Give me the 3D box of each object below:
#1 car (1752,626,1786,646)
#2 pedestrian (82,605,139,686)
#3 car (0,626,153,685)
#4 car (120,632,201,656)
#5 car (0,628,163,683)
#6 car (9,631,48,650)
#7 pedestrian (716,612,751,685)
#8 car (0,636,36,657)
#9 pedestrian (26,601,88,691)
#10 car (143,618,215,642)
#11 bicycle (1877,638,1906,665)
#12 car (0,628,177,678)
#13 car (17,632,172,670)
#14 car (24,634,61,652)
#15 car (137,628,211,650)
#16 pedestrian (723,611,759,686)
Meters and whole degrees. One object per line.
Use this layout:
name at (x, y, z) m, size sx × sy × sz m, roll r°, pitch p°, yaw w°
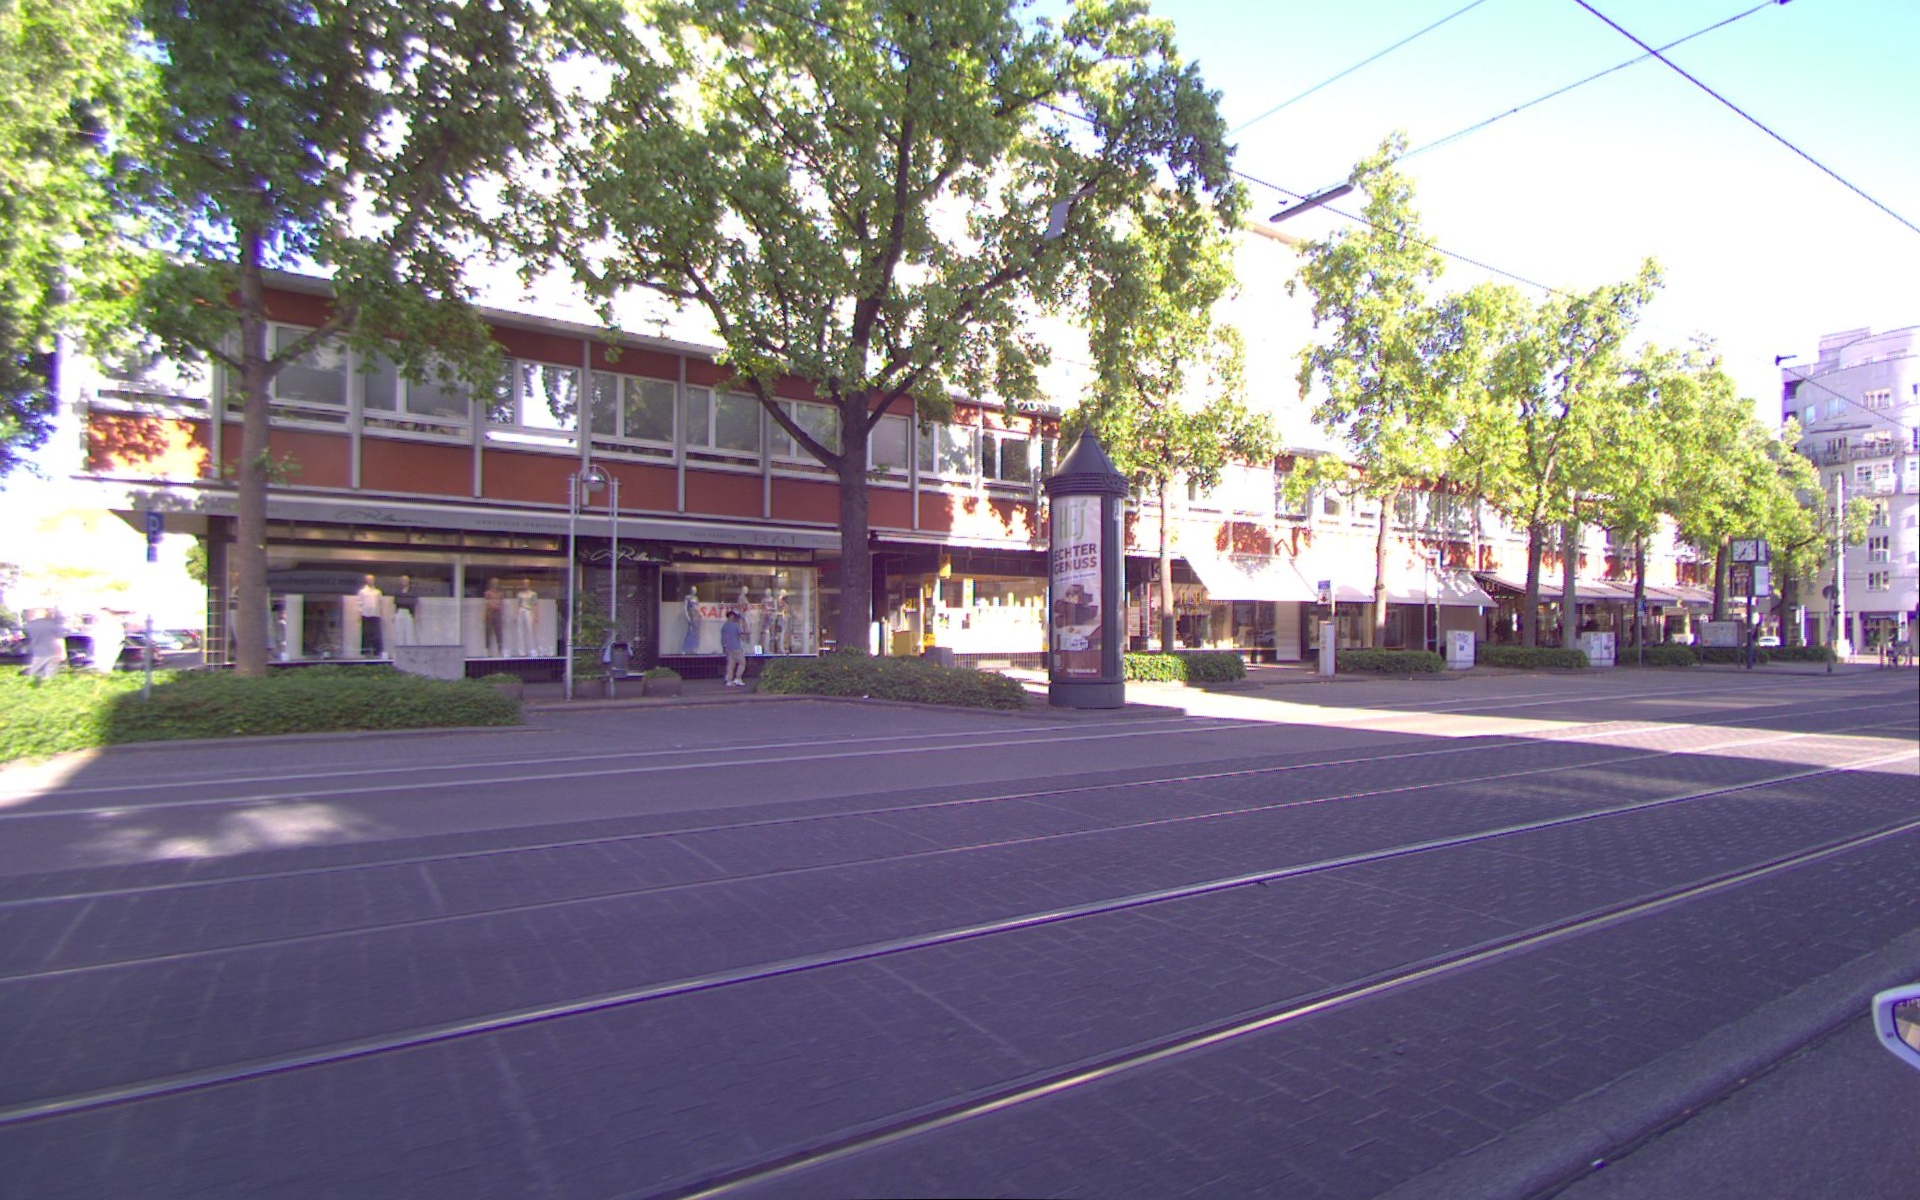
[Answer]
car at (66.262, 2.940, 82.259) m, size 1.779 × 1.422 × 4.077 m, roll -1°, pitch 0°, yaw 44°
pedestrian at (-17.087, 0.907, 20.214) m, size 0.708 × 1.613 × 0.447 m, roll 0°, pitch -2°, yaw -7°
car at (-26.620, 1.591, 29.175) m, size 4.671 × 1.550 × 1.983 m, roll 1°, pitch 1°, yaw -31°
car at (-54.165, 2.971, 68.150) m, size 4.235 × 1.550 × 1.979 m, roll 1°, pitch -2°, yaw -37°
car at (-27.927, 1.685, 31.202) m, size 4.671 × 1.550 × 1.984 m, roll 1°, pitch 0°, yaw -31°
car at (-79.154, 3.464, 85.426) m, size 1.982 × 1.550 × 4.182 m, roll 1°, pitch -2°, yaw -37°
pedestrian at (-5.624, 1.193, 24.929) m, size 0.698 × 1.773 × 0.569 m, roll 1°, pitch -2°, yaw -31°
car at (-72.880, 3.548, 77.428) m, size 1.982 × 1.550 × 4.182 m, roll 1°, pitch -2°, yaw -37°
pedestrian at (-16.584, 0.841, 18.458) m, size 0.711 × 1.613 × 0.445 m, roll 1°, pitch -2°, yaw -23°
car at (-67.836, 2.579, 87.385) m, size 4.786 × 2.040 × 1.981 m, roll 1°, pitch -2°, yaw -35°
bicycle at (43.238, 2.392, 46.598) m, size 2.212 × 1.202 × 0.494 m, roll 1°, pitch -2°, yaw -34°
car at (-29.195, 1.725, 33.439) m, size 4.671 × 1.550 × 1.984 m, roll 1°, pitch 0°, yaw -31°
car at (-36.718, 2.126, 42.818) m, size 4.671 × 1.550 × 1.984 m, roll 1°, pitch -2°, yaw -31°
car at (-82.129, 3.816, 89.970) m, size 1.982 × 1.550 × 4.182 m, roll 1°, pitch -2°, yaw -37°
car at (-57.973, 2.853, 74.185) m, size 4.235 × 1.550 × 1.979 m, roll 1°, pitch -2°, yaw -37°
pedestrian at (-5.326, 1.162, 24.430) m, size 0.698 × 1.795 × 0.569 m, roll 1°, pitch -2°, yaw -31°
